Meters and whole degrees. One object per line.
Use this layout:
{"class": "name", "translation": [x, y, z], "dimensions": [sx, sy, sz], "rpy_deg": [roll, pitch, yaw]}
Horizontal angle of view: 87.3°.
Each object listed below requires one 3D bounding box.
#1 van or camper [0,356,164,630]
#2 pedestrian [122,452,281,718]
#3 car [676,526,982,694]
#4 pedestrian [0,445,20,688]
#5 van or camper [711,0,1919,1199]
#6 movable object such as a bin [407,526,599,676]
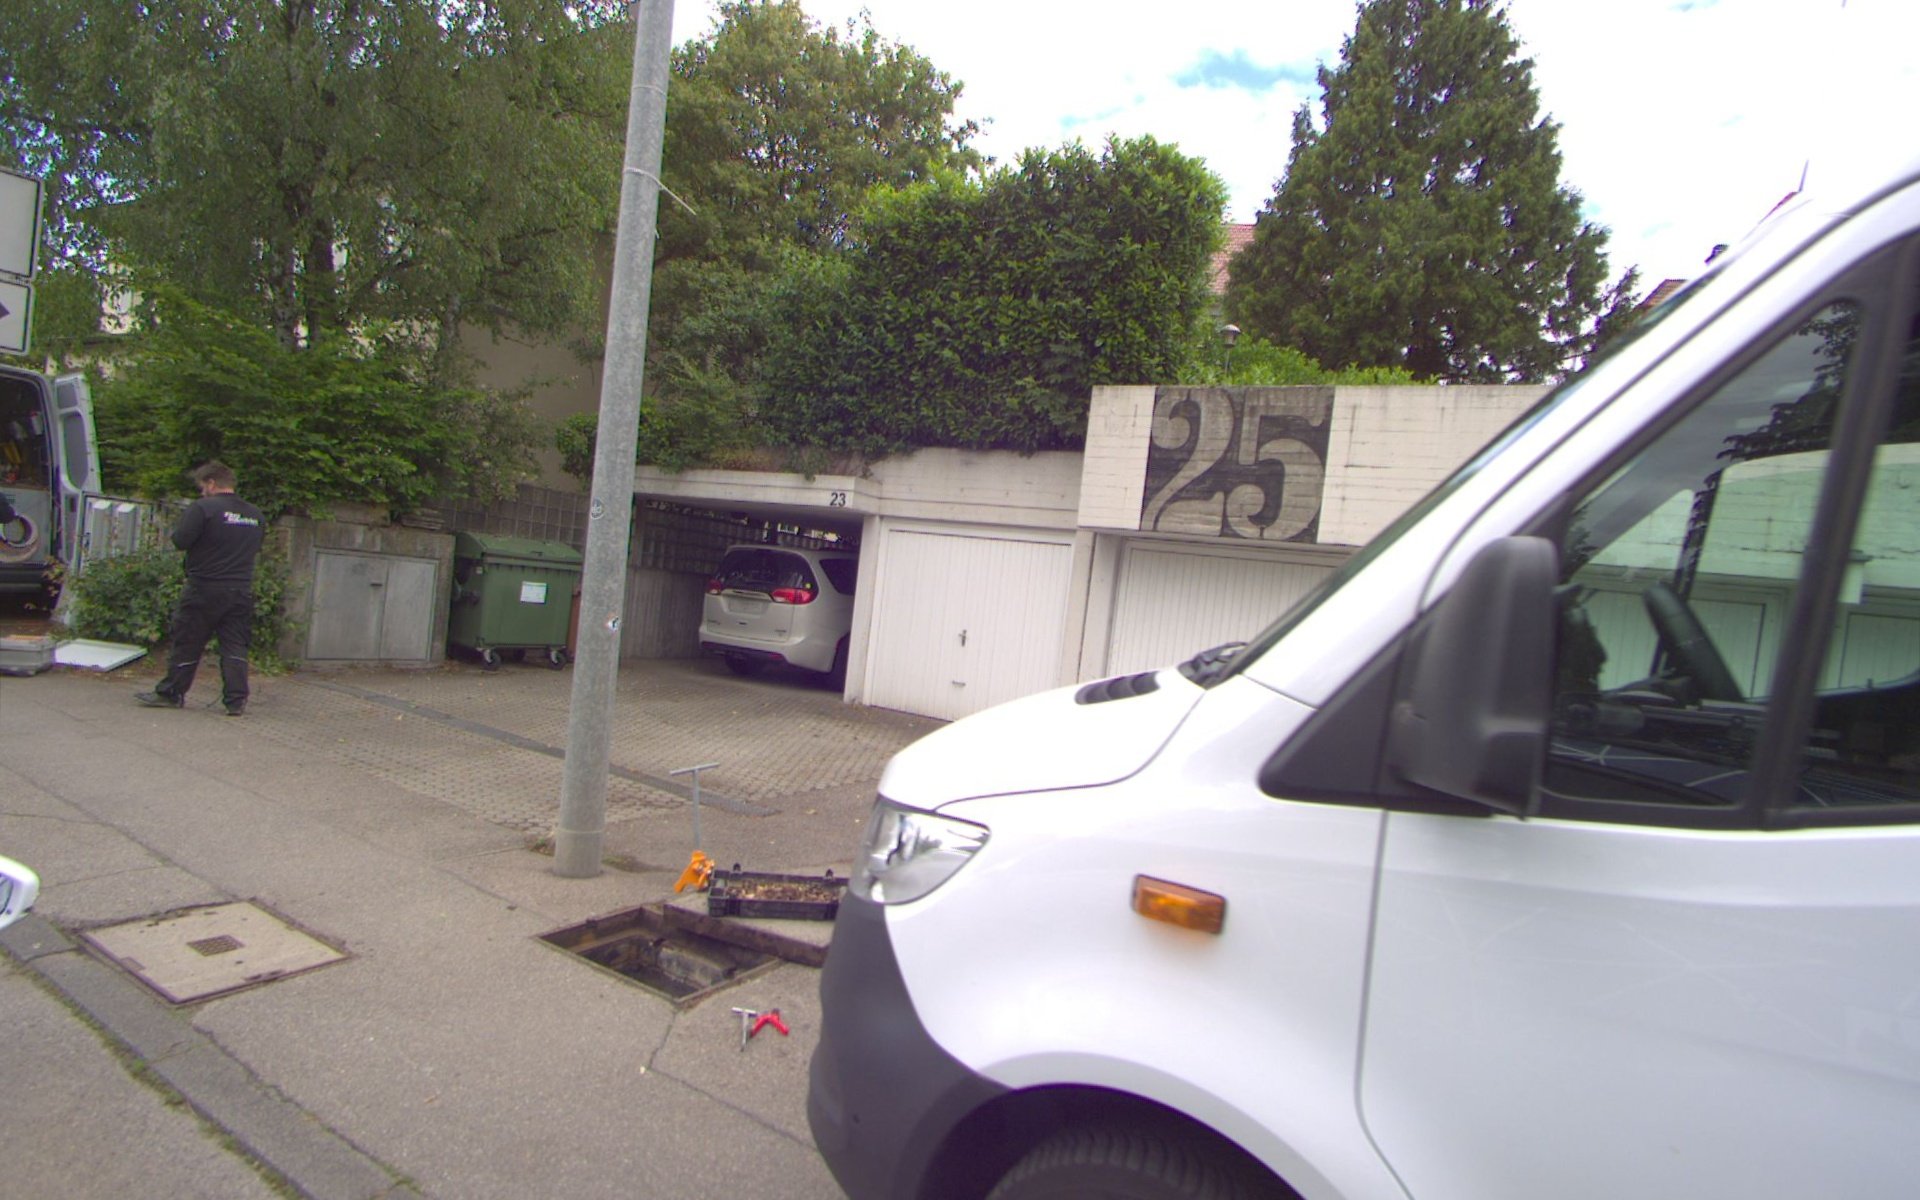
{"class": "van or camper", "translation": [-11.619, -1.247, 10.985], "dimensions": [6.491, 2.529, 2.340], "rpy_deg": [6, 3, 30]}
{"class": "pedestrian", "translation": [-5.380, -0.098, 7.140], "dimensions": [0.645, 1.773, 0.647], "rpy_deg": [6, 1, 39]}
{"class": "car", "translation": [-1.610, 0.220, 13.745], "dimensions": [1.966, 1.810, 3.993], "rpy_deg": [7, 0, 30]}
{"class": "pedestrian", "translation": [-7.357, -0.288, 7.269], "dimensions": [0.746, 1.744, 0.782], "rpy_deg": [3, 5, -42]}
{"class": "van or camper", "translation": [2.848, 0.486, 0.951], "dimensions": [6.436, 2.661, 1.990], "rpy_deg": [6, 3, 32]}
{"class": "movable object such as a bin", "translation": [-5.152, 0.010, 11.386], "dimensions": [1.276, 1.481, 1.420], "rpy_deg": [7, 2, 31]}
